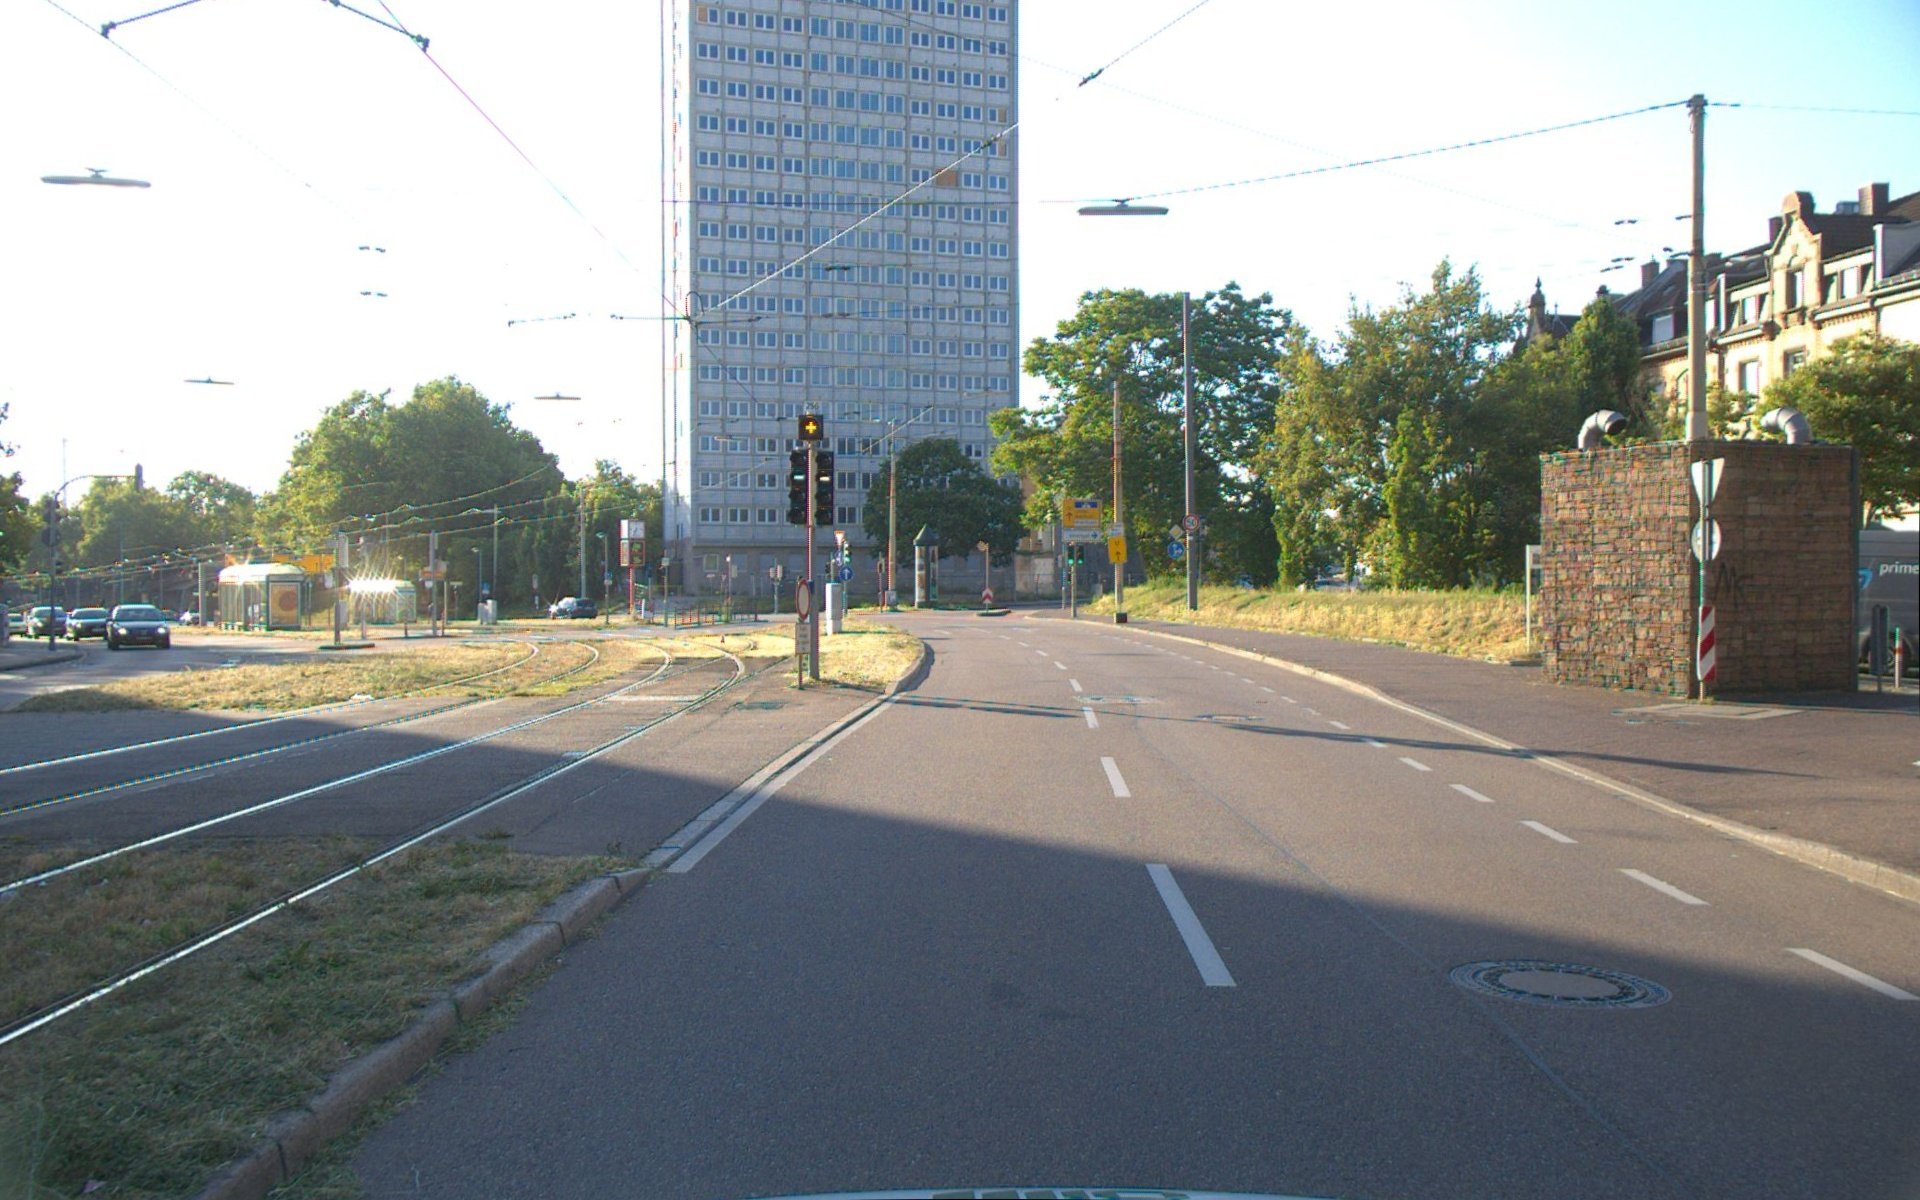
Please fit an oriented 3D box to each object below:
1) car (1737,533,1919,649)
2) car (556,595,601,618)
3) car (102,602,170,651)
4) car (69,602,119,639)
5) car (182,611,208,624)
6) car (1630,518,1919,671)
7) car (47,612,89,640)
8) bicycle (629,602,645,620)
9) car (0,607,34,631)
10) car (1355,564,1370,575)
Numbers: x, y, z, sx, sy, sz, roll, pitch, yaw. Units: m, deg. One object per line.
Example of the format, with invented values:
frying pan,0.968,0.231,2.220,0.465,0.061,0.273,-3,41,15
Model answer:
car,18.958,-0.177,33.741,2.020,2.252,5.348,-1,0,-35
car,-24.752,0.409,107.304,1.754,1.447,3.816,-1,0,-31
car,-28.141,0.903,56.568,1.753,1.507,4.368,-3,1,-23
car,-39.910,0.938,76.195,1.636,1.624,4.534,-1,0,-33
car,-89.211,2.031,192.870,2.023,1.471,3.947,-4,2,-37
car,16.336,-0.110,32.023,2.020,2.712,6.138,-1,0,-35
car,-47.011,1.356,87.148,1.532,1.363,3.549,-1,0,-35
bicycle,-17.400,0.573,89.143,0.542,0.933,1.743,-3,1,-1
car,-59.871,1.194,104.871,1.785,1.391,3.920,-1,1,-33
car,56.499,-4.294,232.288,1.820,1.570,4.002,-1,1,17
